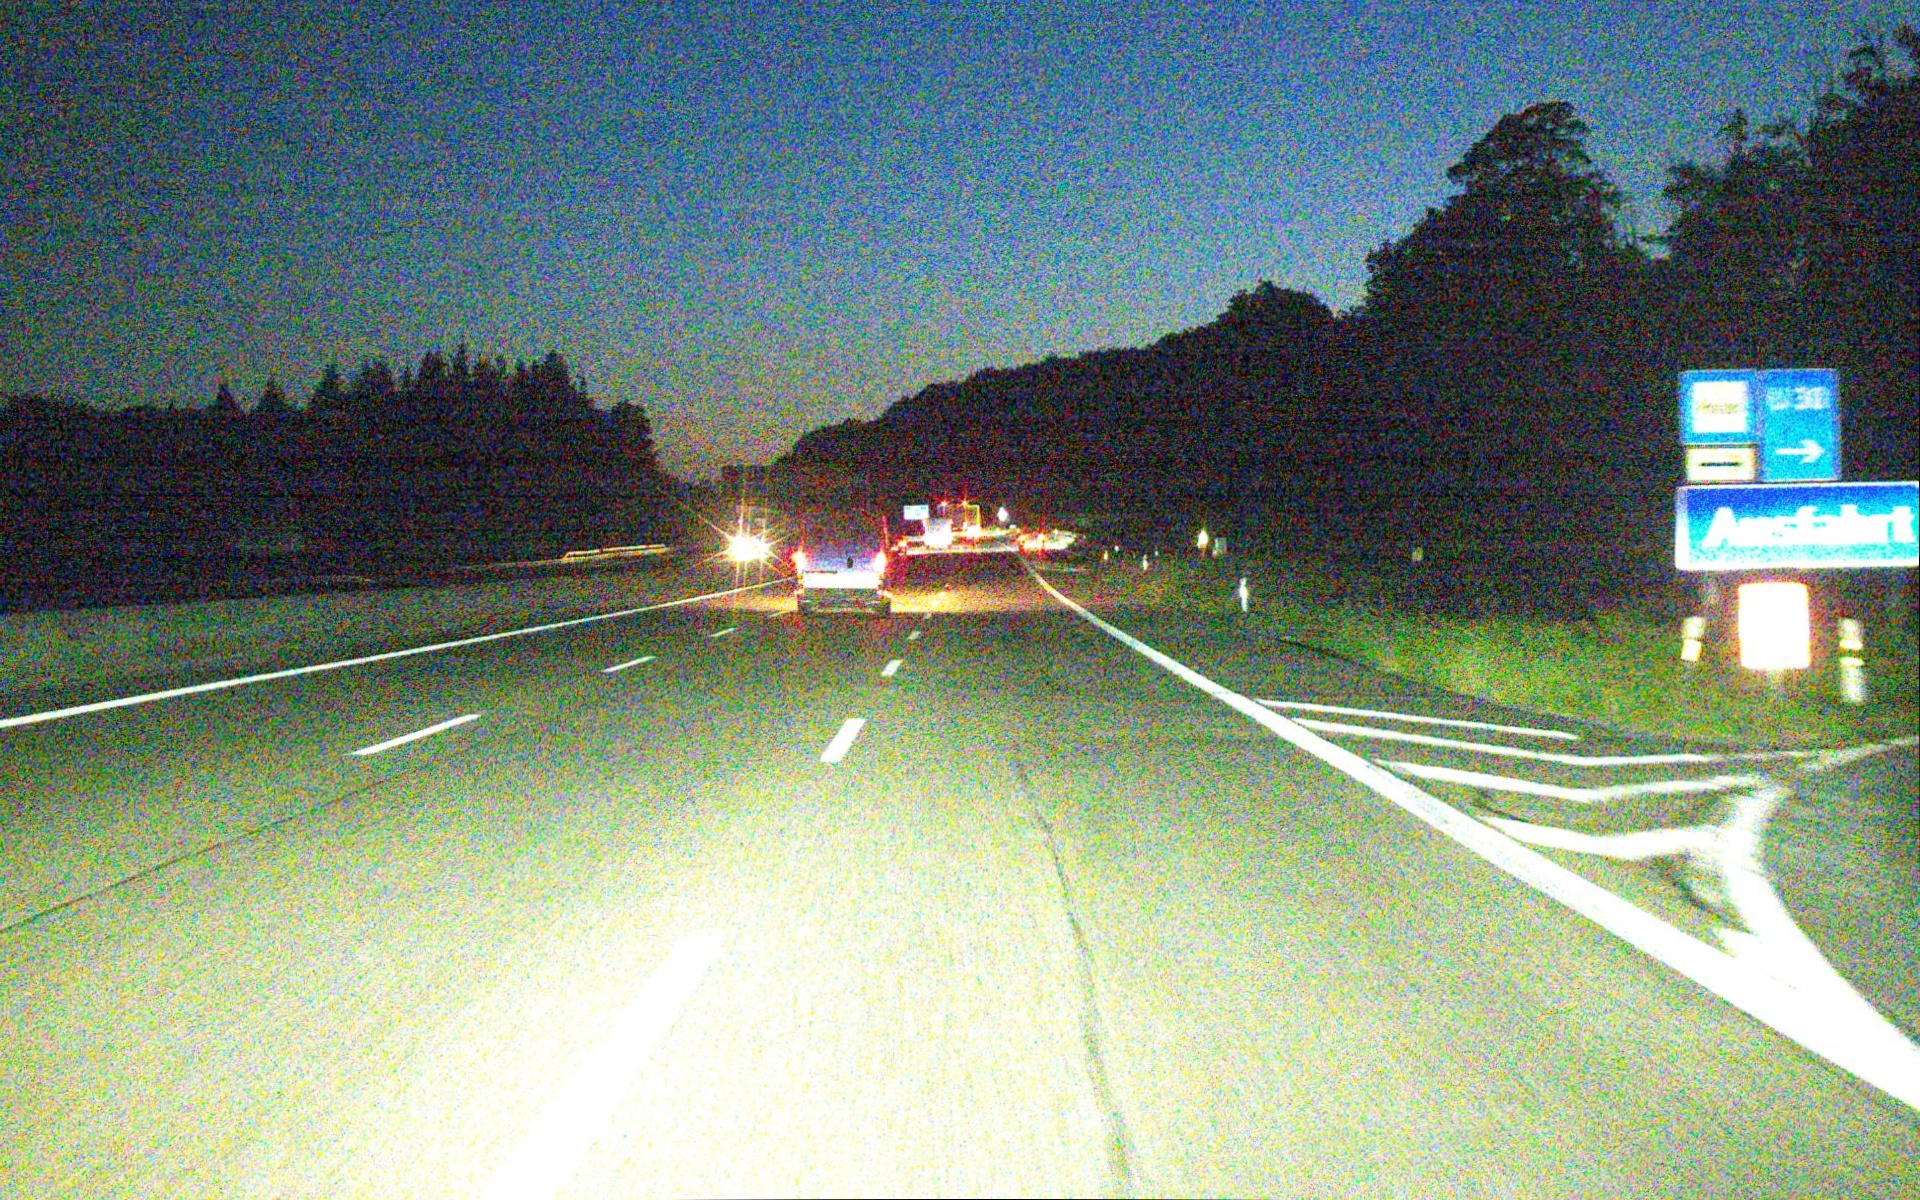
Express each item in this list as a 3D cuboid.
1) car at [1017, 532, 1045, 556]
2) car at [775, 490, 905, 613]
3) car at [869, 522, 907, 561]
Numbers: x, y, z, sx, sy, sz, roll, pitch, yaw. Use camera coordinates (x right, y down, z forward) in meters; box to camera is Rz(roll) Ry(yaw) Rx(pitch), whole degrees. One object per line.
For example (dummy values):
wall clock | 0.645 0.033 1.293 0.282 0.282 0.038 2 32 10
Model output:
car | 5.058 -4.021 244.809 1.843 1.634 4.000 0 2 0
car | -2.724 -1.145 79.685 2.786 2.724 6.299 0 1 0
car | -5.386 -4.337 256.156 2.786 2.724 6.299 0 -1 -1
